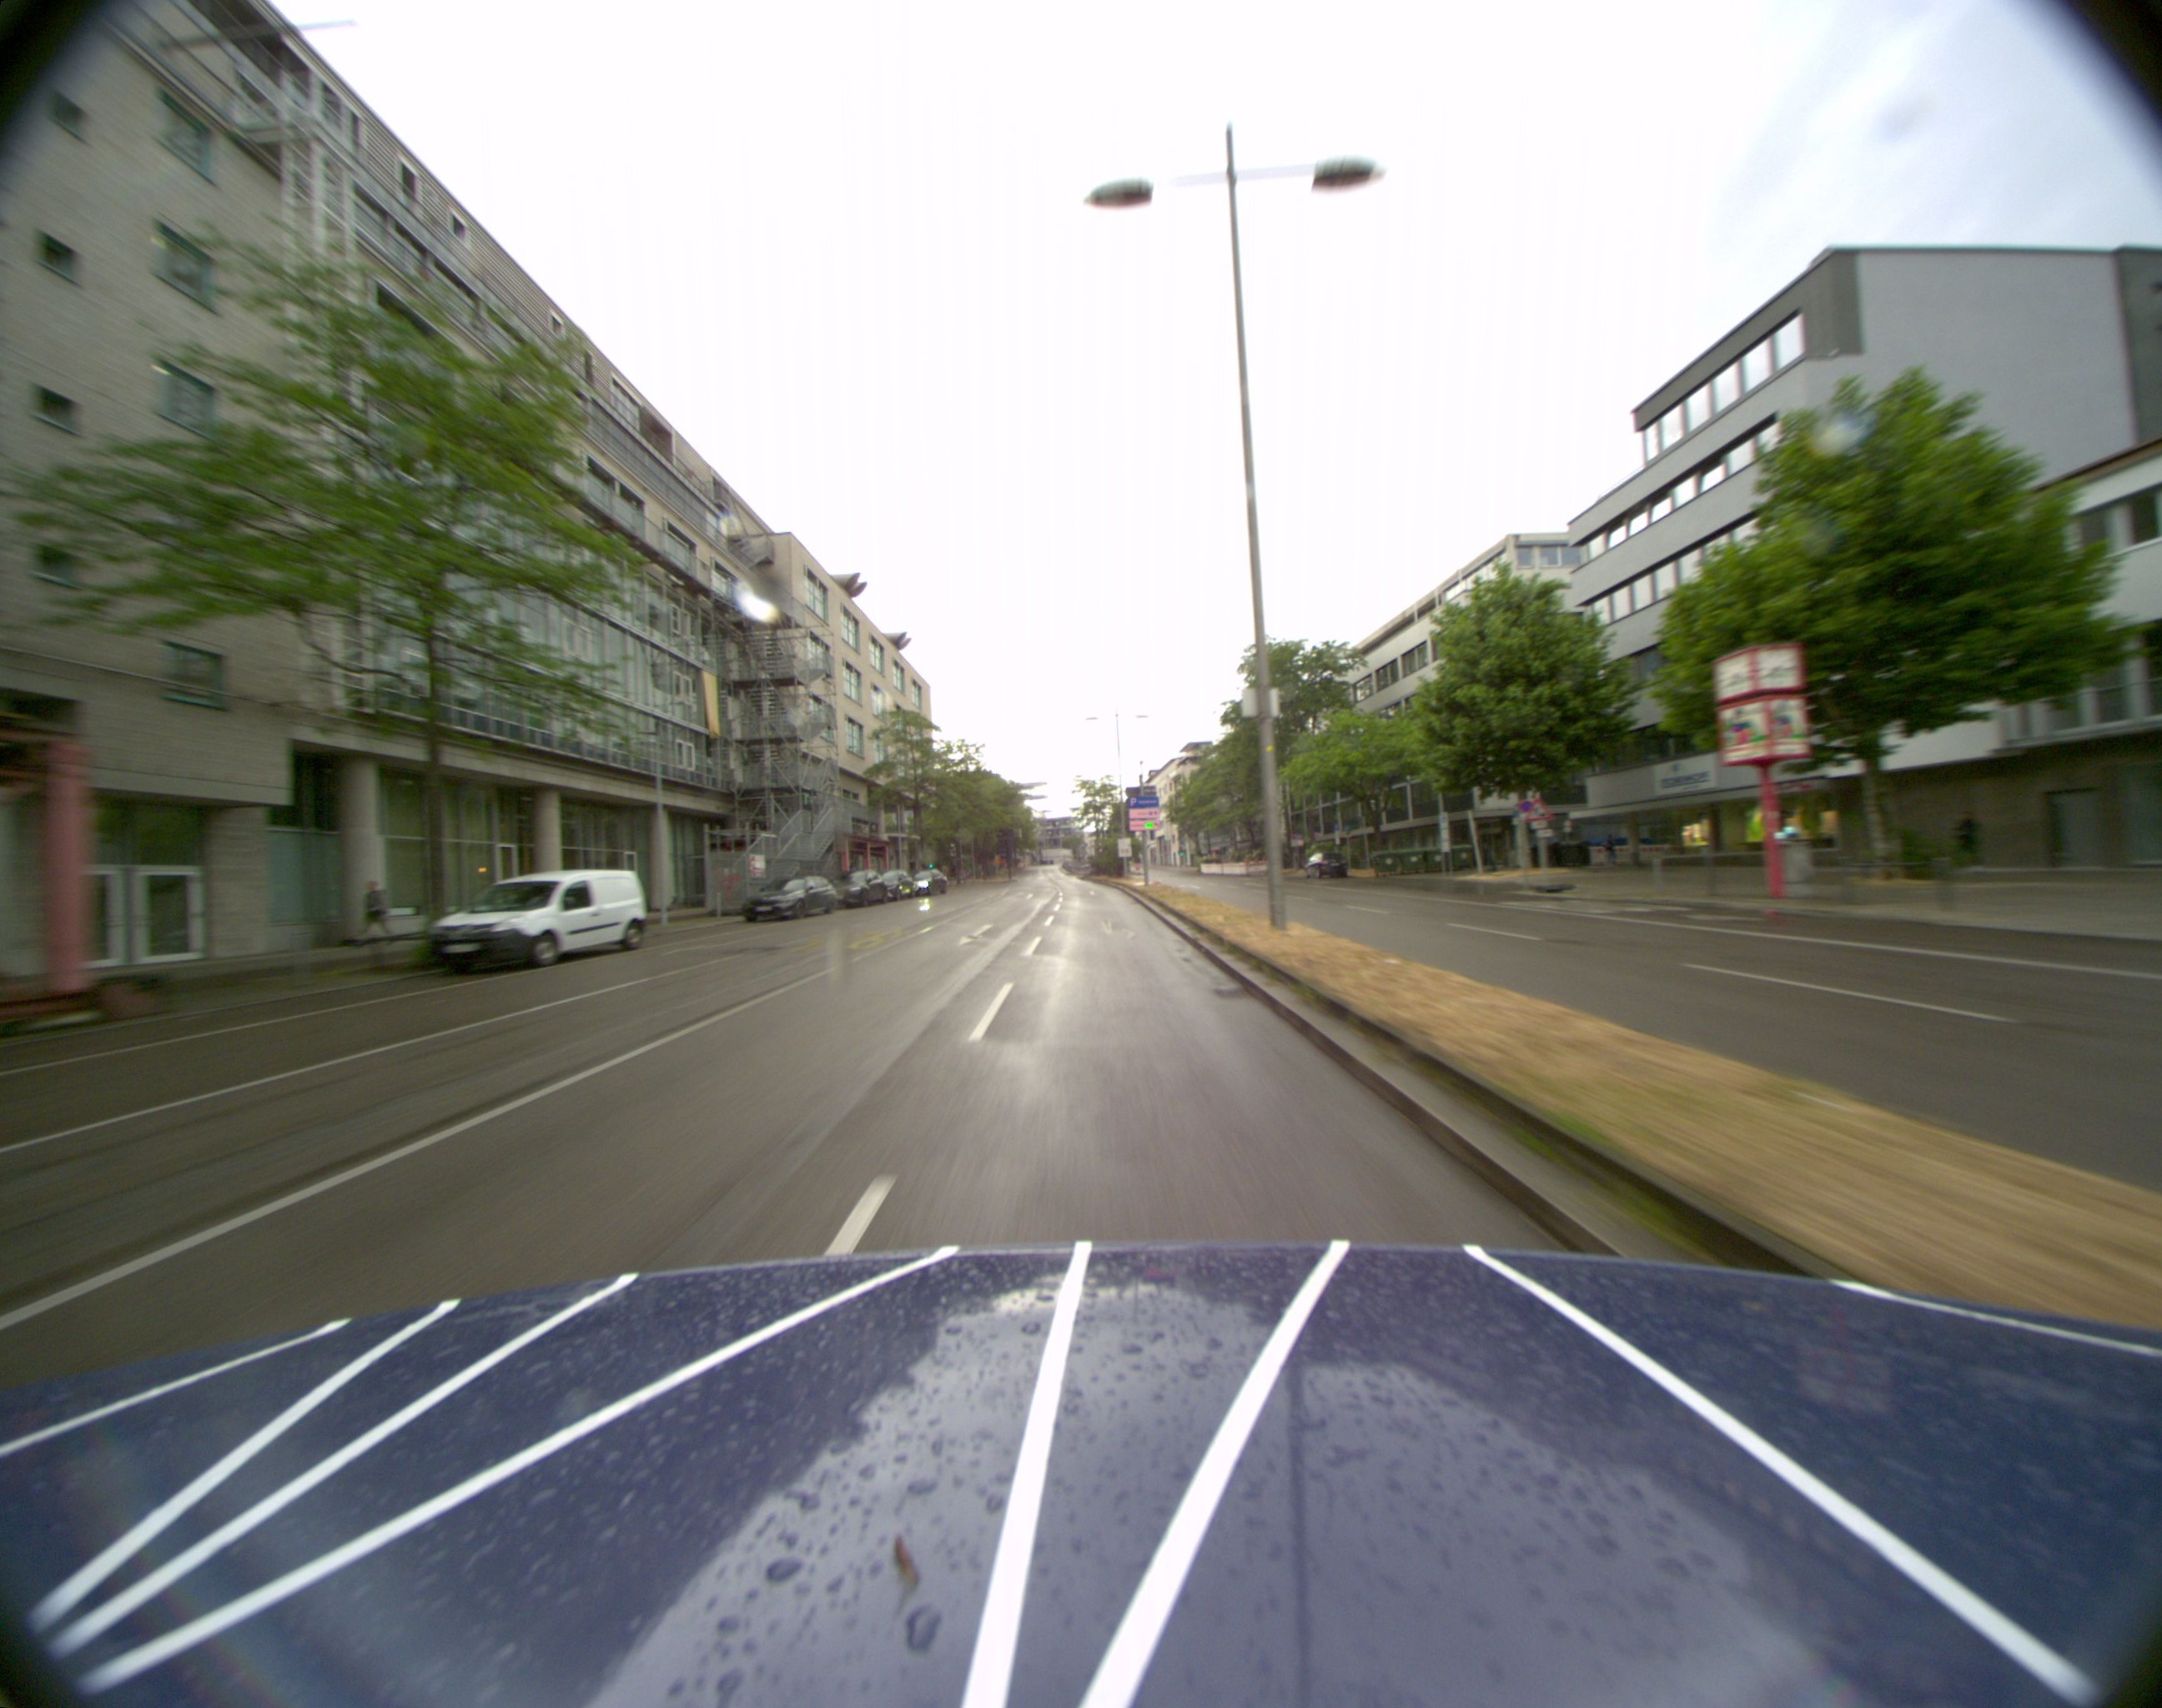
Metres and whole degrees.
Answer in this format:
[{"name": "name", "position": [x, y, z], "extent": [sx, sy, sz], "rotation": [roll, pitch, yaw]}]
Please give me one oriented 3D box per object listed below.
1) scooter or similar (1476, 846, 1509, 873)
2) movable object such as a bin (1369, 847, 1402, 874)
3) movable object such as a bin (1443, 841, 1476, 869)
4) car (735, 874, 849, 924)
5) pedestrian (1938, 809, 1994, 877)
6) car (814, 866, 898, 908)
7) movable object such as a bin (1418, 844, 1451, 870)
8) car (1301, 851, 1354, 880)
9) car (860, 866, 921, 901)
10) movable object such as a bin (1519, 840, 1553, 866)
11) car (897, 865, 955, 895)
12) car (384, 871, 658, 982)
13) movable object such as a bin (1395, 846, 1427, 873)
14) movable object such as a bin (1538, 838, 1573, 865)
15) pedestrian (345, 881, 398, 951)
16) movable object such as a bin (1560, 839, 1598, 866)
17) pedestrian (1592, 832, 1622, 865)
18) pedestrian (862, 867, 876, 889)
[{"name": "scooter or similar", "position": [19.395, 0.266, 35.821], "extent": [0.777, 1.114, 1.324], "rotation": [-5, -3, 2]}, {"name": "movable object such as a bin", "position": [17.294, 0.362, 43.150], "extent": [1.362, 1.418, 1.088], "rotation": [-3, 0, 1]}, {"name": "movable object such as a bin", "position": [21.477, 0.054, 43.162], "extent": [1.281, 1.479, 1.088], "rotation": [-3, 0, 1]}, {"name": "car", "position": [-10.024, 1.507, 26.842], "extent": [1.873, 1.429, 4.922], "rotation": [-2, -1, 3]}, {"name": "pedestrian", "position": [23.535, -0.292, 20.213], "extent": [0.698, 1.752, 0.653], "rotation": [-2, 0, 3]}, {"name": "car", "position": [-9.823, 1.403, 33.635], "extent": [1.998, 1.636, 4.863], "rotation": [-2, -1, 3]}, {"name": "movable object such as a bin", "position": [20.084, 0.181, 43.172], "extent": [1.281, 1.418, 1.088], "rotation": [-3, 0, 1]}, {"name": "car", "position": [15.026, 0.677, 46.605], "extent": [1.783, 1.626, 4.024], "rotation": [-2, -1, -2]}, {"name": "car", "position": [-9.668, 1.459, 39.010], "extent": [1.866, 1.591, 4.593], "rotation": [-2, -1, 1]}, {"name": "movable object such as a bin", "position": [26.424, -0.055, 44.171], "extent": [1.088, 1.427, 1.281], "rotation": [-3, 0, -9]}, {"name": "car", "position": [-9.063, 1.488, 44.929], "extent": [1.998, 1.591, 5.291], "rotation": [-2, -1, 4]}, {"name": "car", "position": [-10.719, 1.272, 15.098], "extent": [1.998, 1.739, 4.527], "rotation": [-2, 0, 1]}, {"name": "movable object such as a bin", "position": [18.734, 0.314, 43.149], "extent": [1.281, 1.418, 1.088], "rotation": [-3, 0, 1]}, {"name": "movable object such as a bin", "position": [26.608, -0.125, 42.632], "extent": [1.088, 1.427, 1.281], "rotation": [-3, 0, -9]}, {"name": "pedestrian", "position": [-18.287, 1.591, 19.603], "extent": [0.677, 1.732, 0.653], "rotation": [-2, 0, 3]}, {"name": "movable object such as a bin", "position": [27.012, -0.061, 41.252], "extent": [1.088, 1.427, 1.281], "rotation": [-3, 0, -9]}, {"name": "pedestrian", "position": [27.074, -0.273, 39.120], "extent": [0.896, 1.678, 0.871], "rotation": [-3, 0, -4]}, {"name": "pedestrian", "position": [-15.390, 1.732, 55.212], "extent": [0.705, 1.586, 0.923], "rotation": [-2, 0, -1]}]
